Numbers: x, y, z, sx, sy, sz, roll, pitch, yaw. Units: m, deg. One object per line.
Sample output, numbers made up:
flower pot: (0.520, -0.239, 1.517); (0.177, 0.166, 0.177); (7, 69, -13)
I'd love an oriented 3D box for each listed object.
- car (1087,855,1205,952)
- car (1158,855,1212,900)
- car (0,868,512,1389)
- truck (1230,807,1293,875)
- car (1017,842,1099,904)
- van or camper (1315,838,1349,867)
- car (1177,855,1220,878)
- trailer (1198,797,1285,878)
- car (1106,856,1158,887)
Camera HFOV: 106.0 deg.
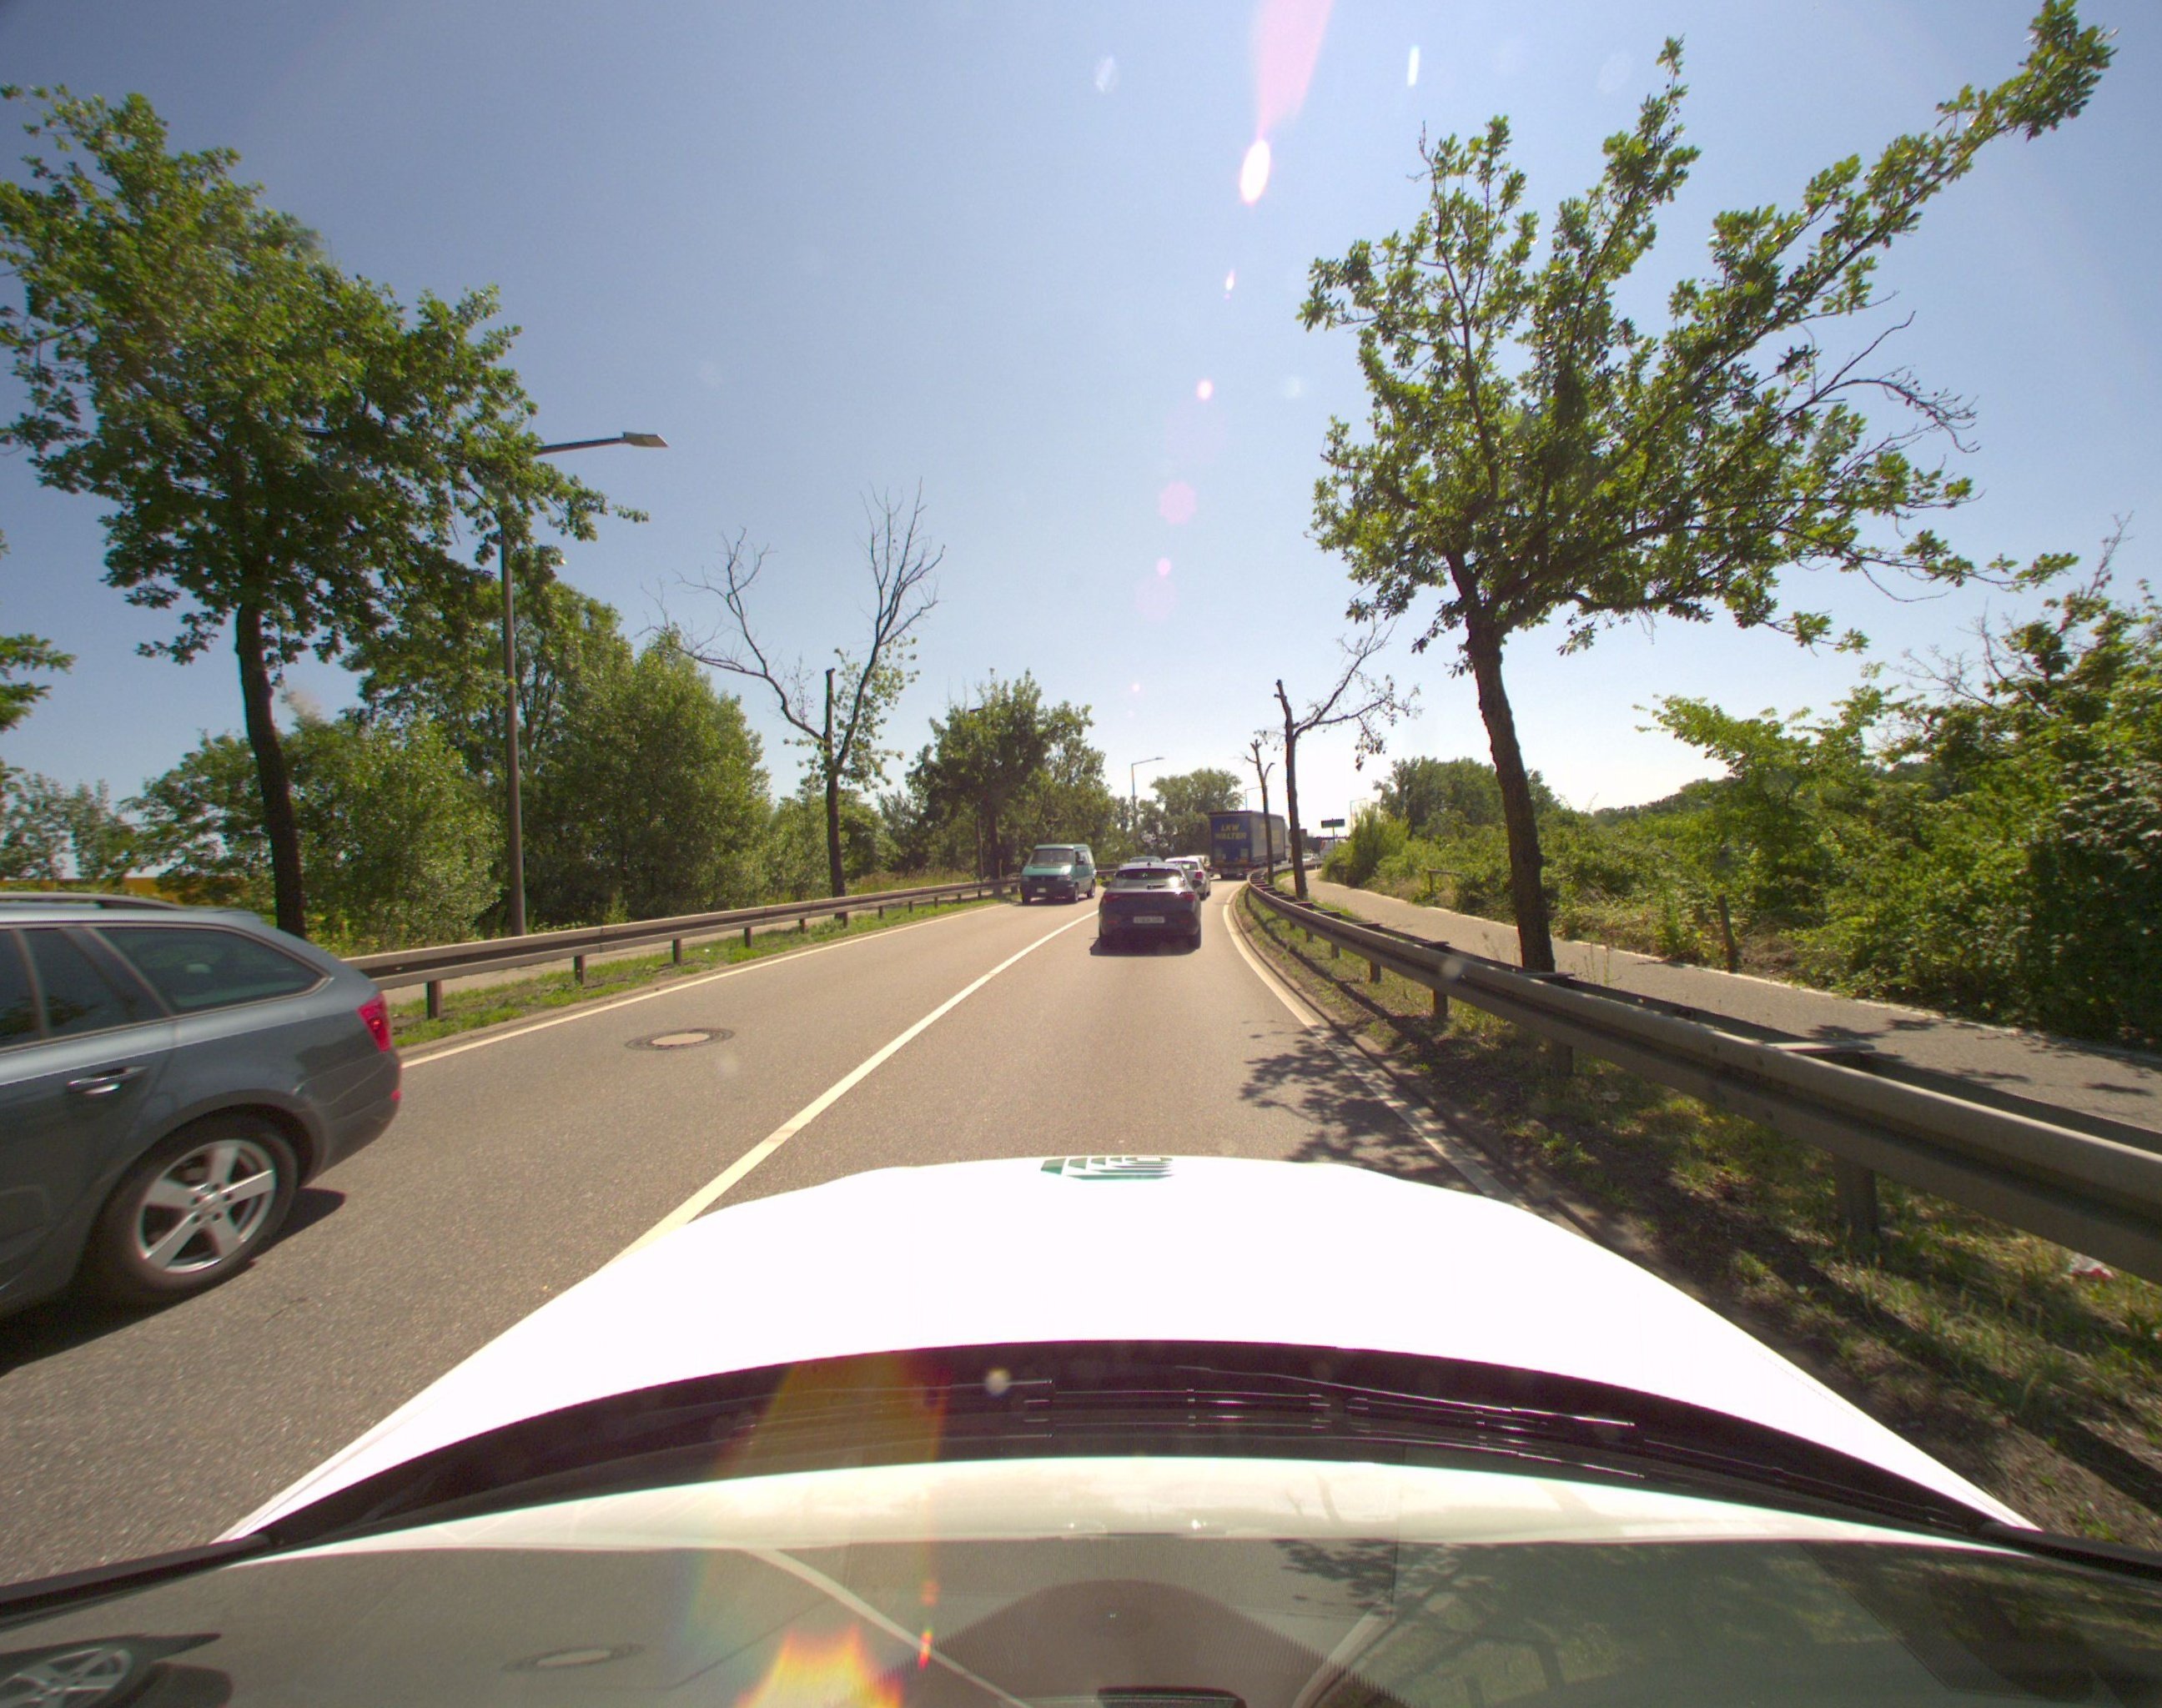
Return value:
car: (1.238, 0.799, 14.787); (1.836, 1.499, 3.765); (-1, 0, 6)
car: (3.706, 0.784, 28.598); (1.582, 1.461, 3.556); (0, 0, 12)
car: (-3.971, 0.808, 1.962); (1.736, 1.447, 4.523); (-1, 0, 5)
truck: (13.171, -0.857, 58.893); (3.142, 4.585, 7.436); (-1, -1, 22)
car: (-0.695, 0.623, 28.314); (1.818, 1.938, 4.790); (-1, 0, 11)
van or camper: (24.825, -0.140, 80.482); (2.182, 2.711, 5.961); (-2, 0, 26)
car: (7.729, 0.805, 53.232); (1.686, 1.447, 4.484); (-1, 0, 23)
trailer: (10.718, -0.899, 52.902); (3.107, 4.614, 13.016); (0, 0, 22)
car: (2.704, 0.845, 41.981); (1.833, 1.467, 4.759); (-1, 0, 14)
